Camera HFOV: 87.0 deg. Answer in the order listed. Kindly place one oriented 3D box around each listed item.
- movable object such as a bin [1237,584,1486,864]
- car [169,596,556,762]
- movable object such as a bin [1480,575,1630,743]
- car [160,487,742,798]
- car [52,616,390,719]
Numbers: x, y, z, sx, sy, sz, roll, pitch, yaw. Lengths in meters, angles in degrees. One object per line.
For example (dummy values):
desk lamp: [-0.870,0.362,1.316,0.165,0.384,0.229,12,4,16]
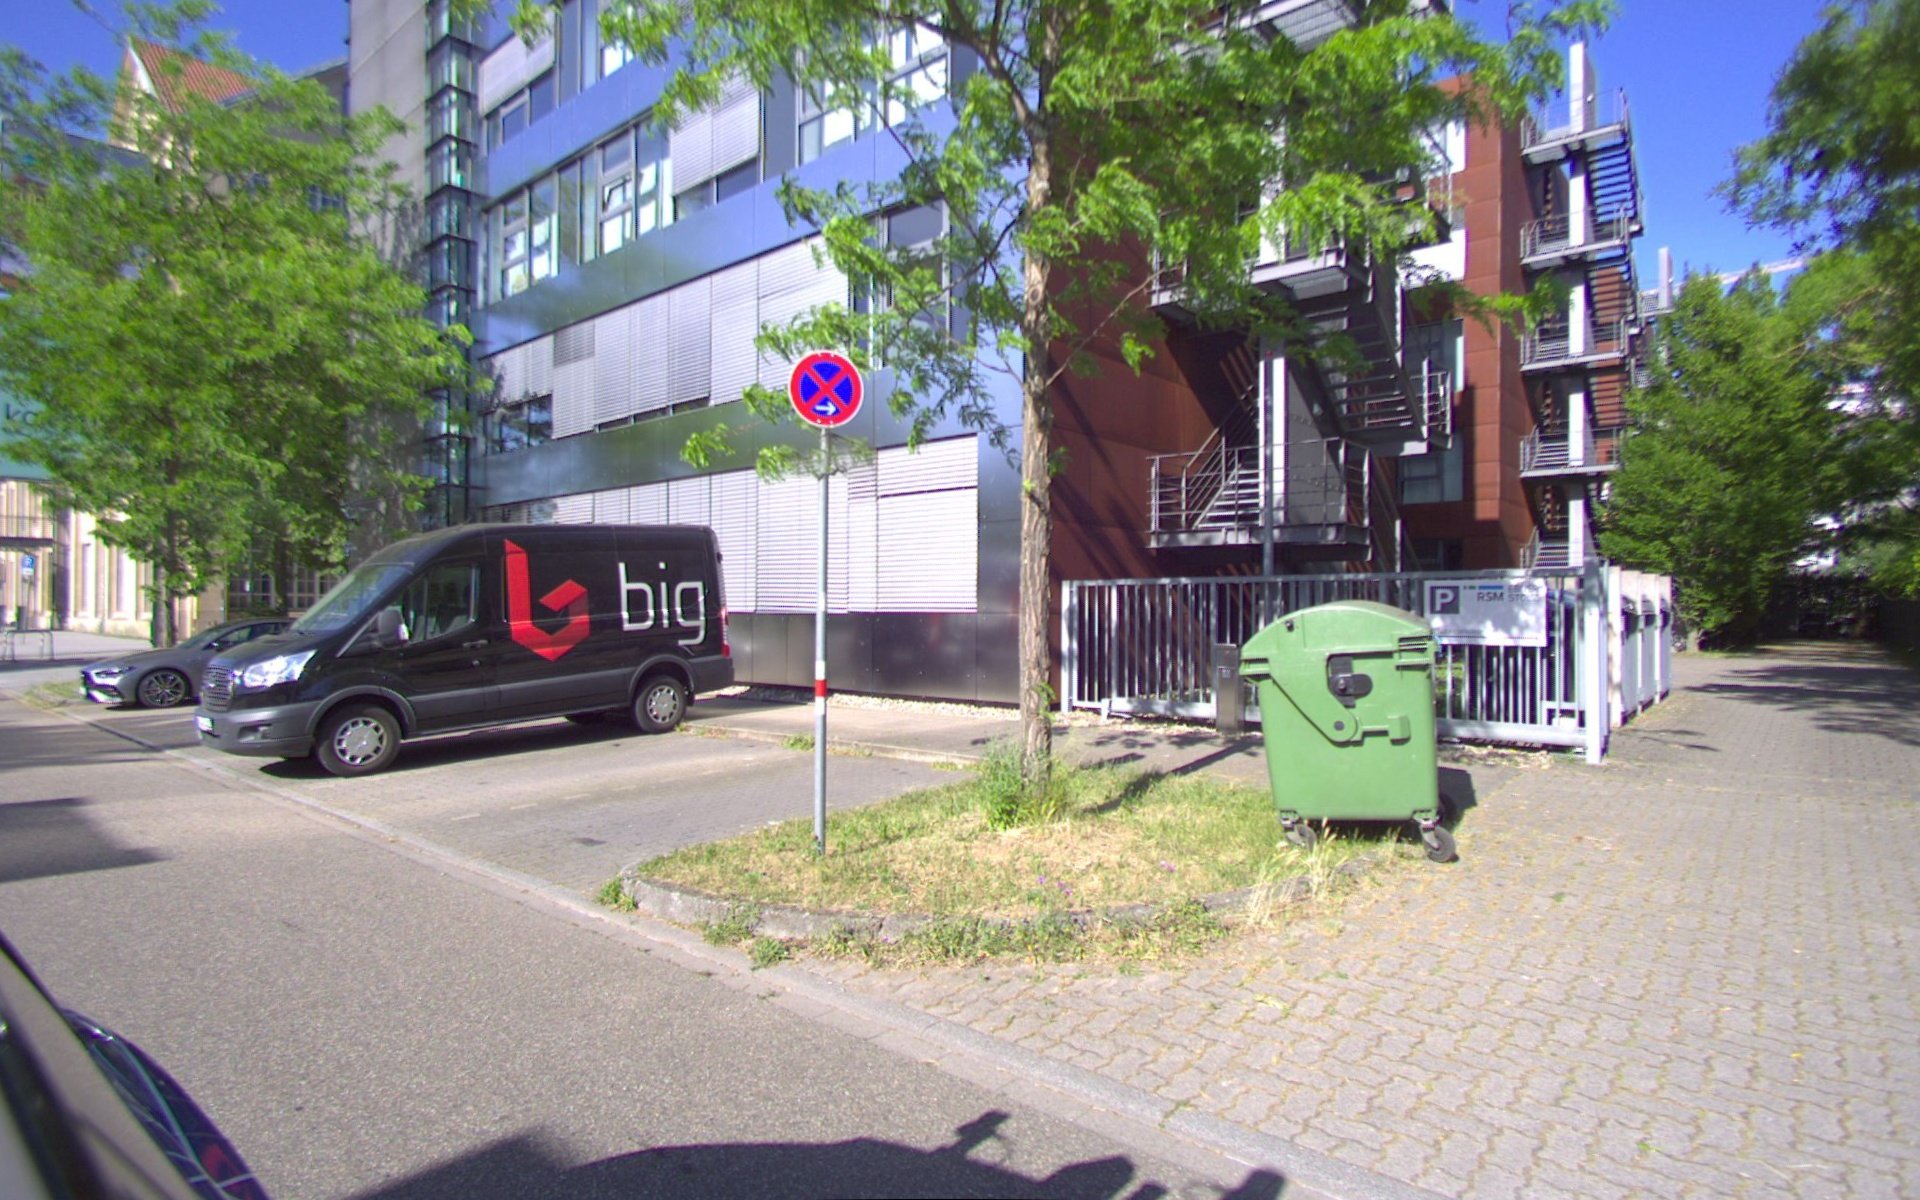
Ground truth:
movable object such as a bin: [2.367,0.644,6.009,1.220,1.424,1.287,-1,-1,24]
car: [-7.434,0.840,12.878,1.890,1.657,3.794,-1,2,39]
movable object such as a bin: [5.838,0.539,9.896,1.011,1.497,1.465,0,-1,42]
car: [-5.340,0.318,11.388,2.230,2.642,5.399,0,1,40]
car: [-12.855,1.071,17.851,1.891,1.360,4.488,0,2,40]
